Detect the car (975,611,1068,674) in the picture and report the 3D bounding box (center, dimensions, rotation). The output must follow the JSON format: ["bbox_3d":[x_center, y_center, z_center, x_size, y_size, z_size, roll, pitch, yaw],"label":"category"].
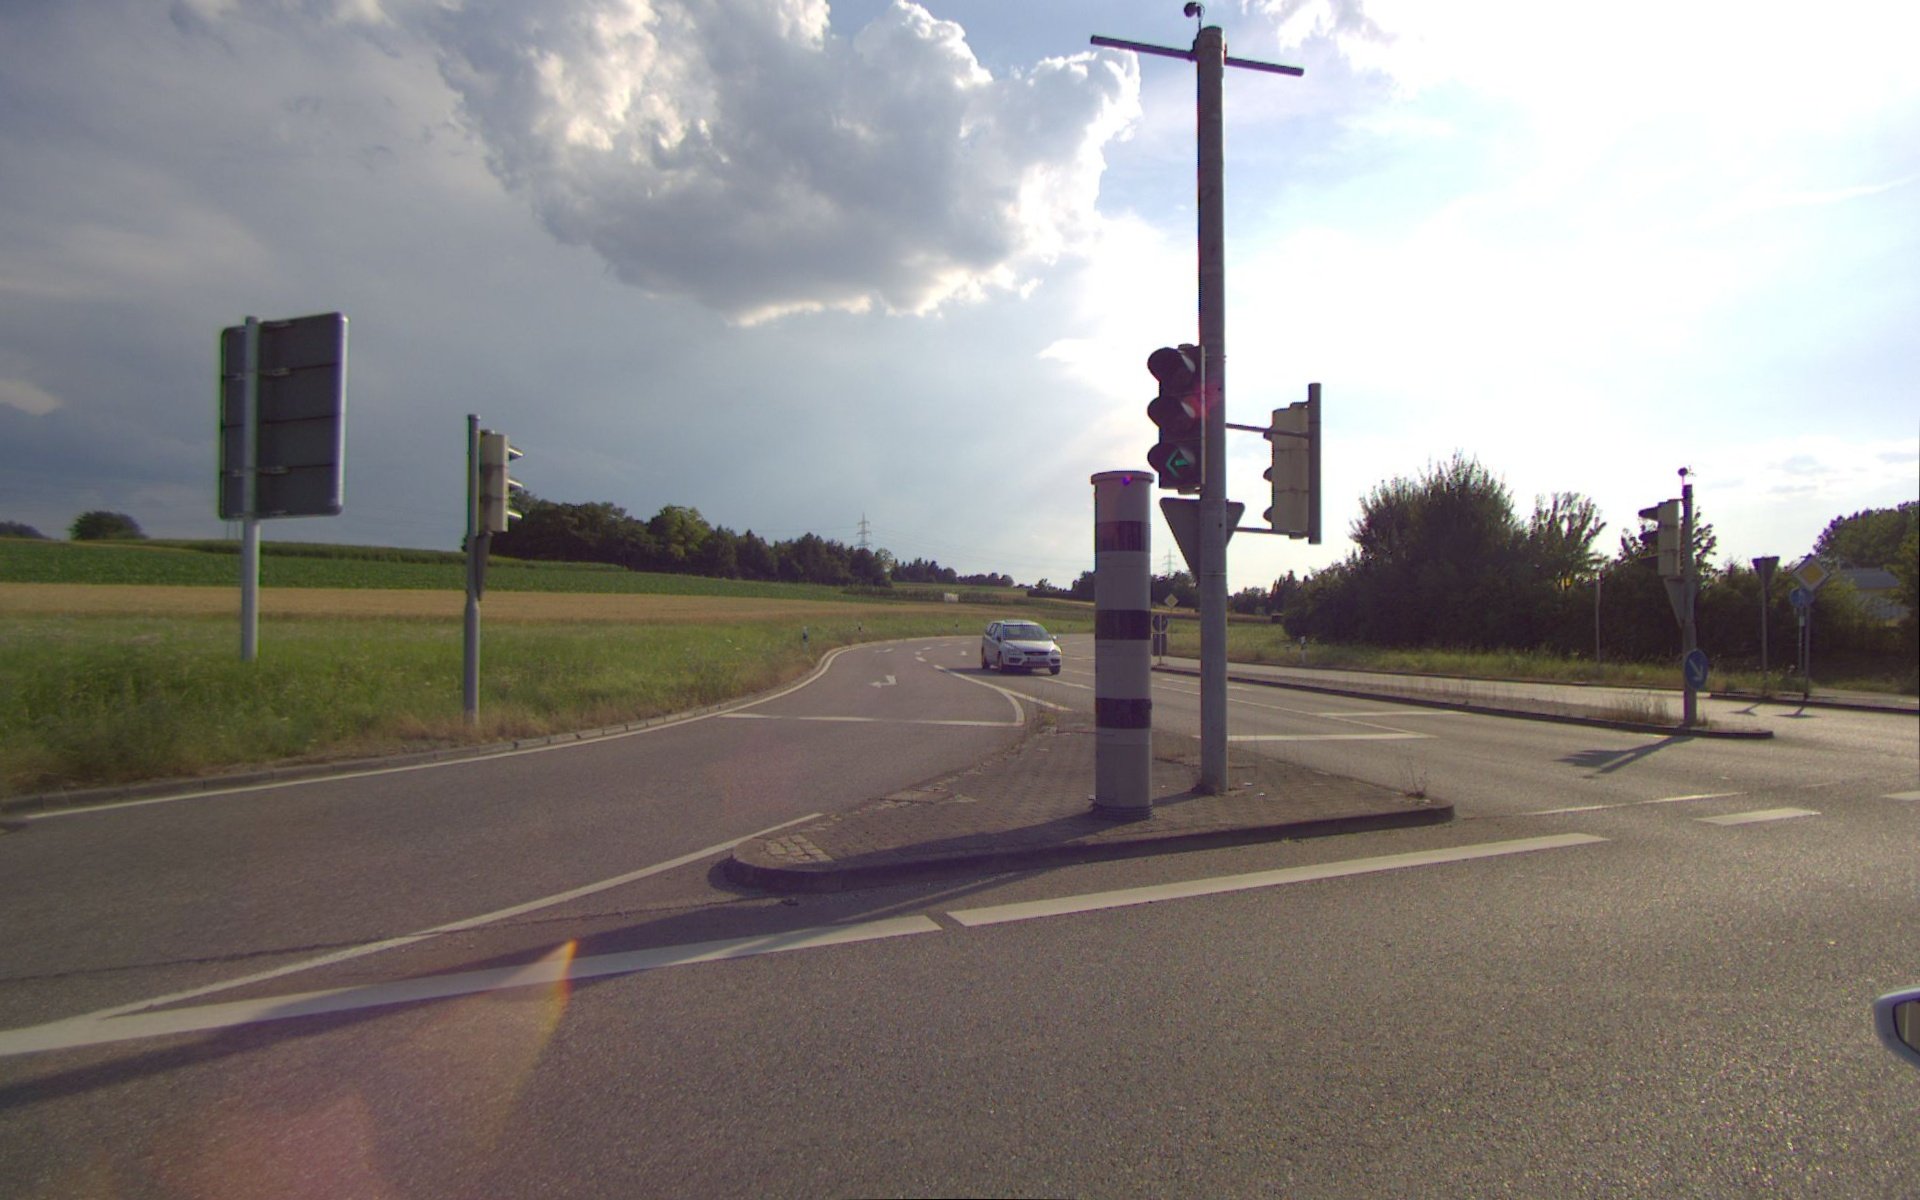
[{"bbox_3d":[1.745,1.199,29.944,1.788,1.549,4.345,2,1,-10],"label":"car"}]

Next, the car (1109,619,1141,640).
[{"bbox_3d":[12.872,2.286,78.181,1.694,1.520,3.856,2,0,21],"label":"car"}]
